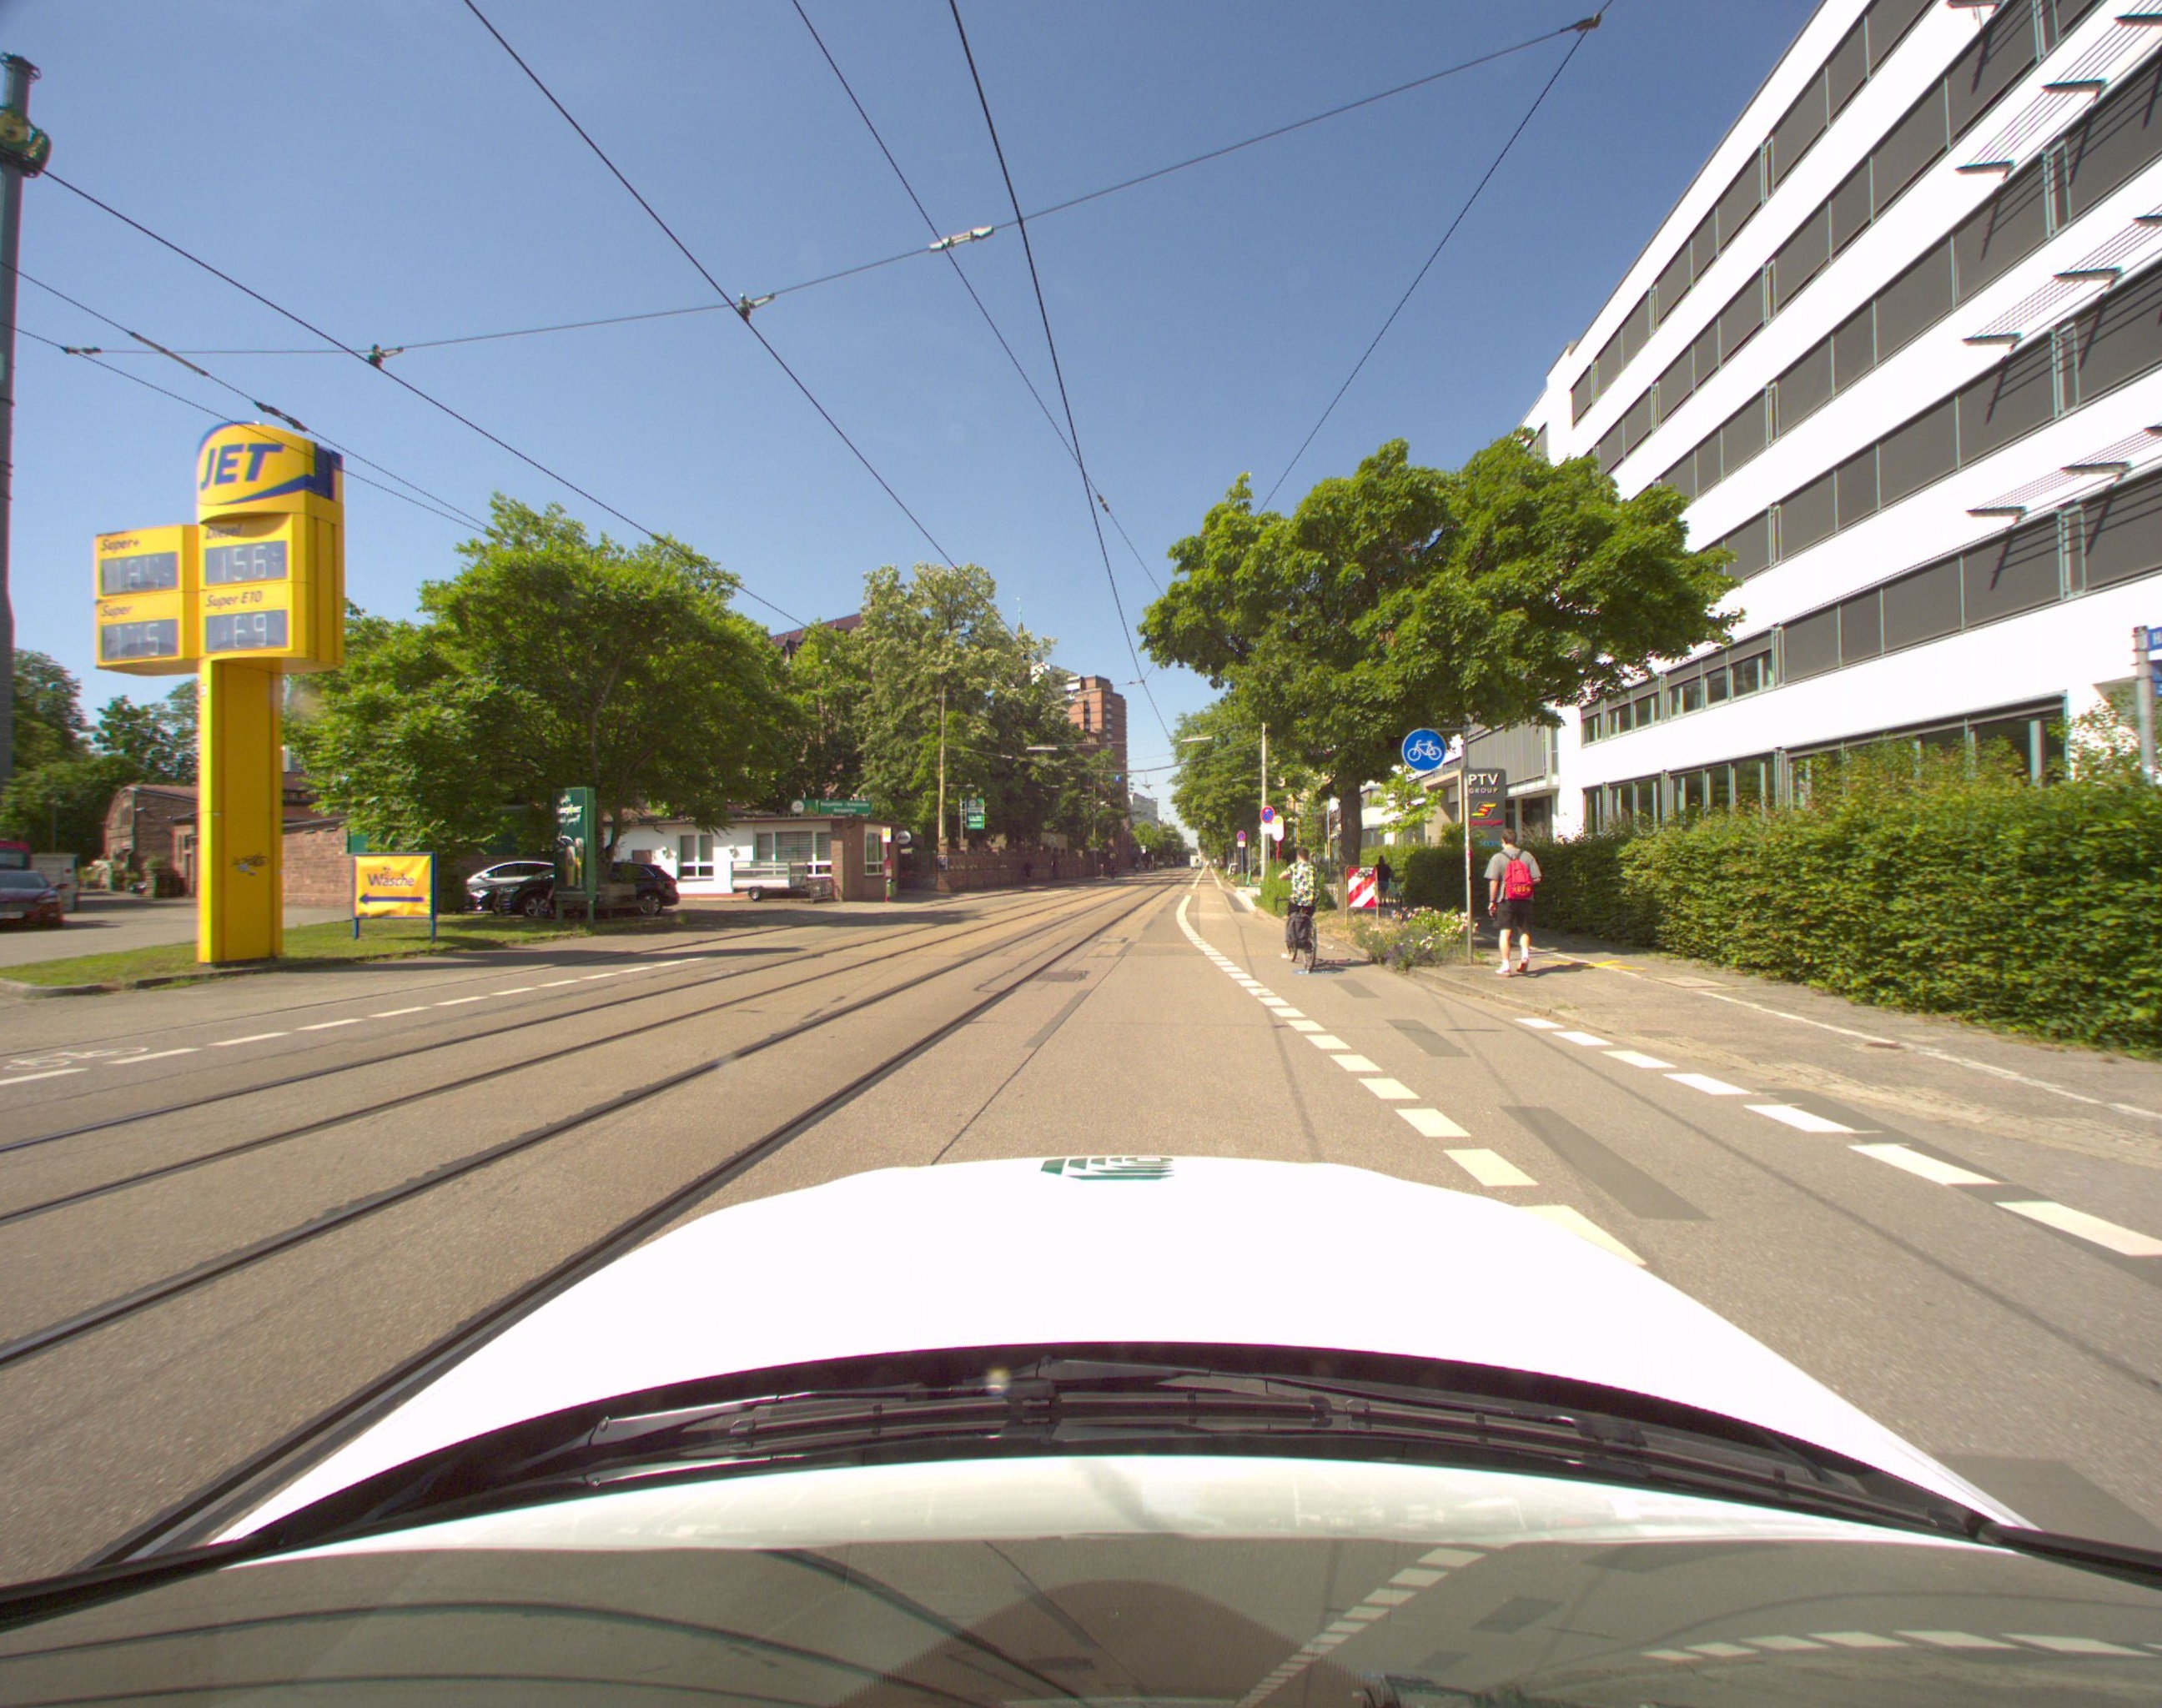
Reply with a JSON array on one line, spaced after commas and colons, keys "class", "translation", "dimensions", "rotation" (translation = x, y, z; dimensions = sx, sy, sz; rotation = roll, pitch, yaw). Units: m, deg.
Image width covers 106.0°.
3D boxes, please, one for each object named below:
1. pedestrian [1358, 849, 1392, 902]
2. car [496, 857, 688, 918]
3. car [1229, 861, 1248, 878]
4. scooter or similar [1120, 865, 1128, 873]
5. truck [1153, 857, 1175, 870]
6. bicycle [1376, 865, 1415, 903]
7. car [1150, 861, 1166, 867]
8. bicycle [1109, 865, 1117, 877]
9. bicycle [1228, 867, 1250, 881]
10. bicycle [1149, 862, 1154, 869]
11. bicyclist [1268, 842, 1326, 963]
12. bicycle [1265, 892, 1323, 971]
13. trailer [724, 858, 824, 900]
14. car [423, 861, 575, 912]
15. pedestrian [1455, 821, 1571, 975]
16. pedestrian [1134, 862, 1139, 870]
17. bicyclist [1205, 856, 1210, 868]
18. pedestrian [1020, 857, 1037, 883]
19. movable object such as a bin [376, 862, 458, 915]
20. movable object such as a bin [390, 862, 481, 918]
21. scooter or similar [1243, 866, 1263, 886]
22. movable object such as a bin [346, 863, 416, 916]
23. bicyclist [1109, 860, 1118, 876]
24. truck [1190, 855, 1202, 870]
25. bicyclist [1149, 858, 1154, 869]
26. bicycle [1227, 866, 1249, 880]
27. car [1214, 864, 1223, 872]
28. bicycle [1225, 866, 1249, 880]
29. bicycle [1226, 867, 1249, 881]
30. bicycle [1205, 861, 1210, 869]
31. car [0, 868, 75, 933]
[{"class": "pedestrian", "translation": [8.996, 0.664, 24.972], "dimensions": [0.683, 1.563, 0.989], "rotation": [-2, -1, 4]}, {"class": "car", "translation": [-14.440, 0.923, 24.179], "dimensions": [4.681, 1.641, 1.997], "rotation": [0, -1, -38]}, {"class": "car", "translation": [13.979, 1.329, 72.430], "dimensions": [1.620, 1.472, 3.640], "rotation": [-1, -1, 10]}, {"class": "scooter or similar", "translation": [6.256, 2.130, 118.143], "dimensions": [1.193, 1.129, 0.330], "rotation": [0, -2, -43]}, {"class": "truck", "translation": [25.761, 2.982, 253.315], "dimensions": [2.786, 3.860, 10.062], "rotation": [-2, -1, 30]}, {"class": "bicycle", "translation": [9.595, 0.903, 24.917], "dimensions": [0.632, 1.117, 2.071], "rotation": [-1, -1, 8]}, {"class": "car", "translation": [21.282, 2.767, 225.093], "dimensions": [4.003, 1.750, 1.985], "rotation": [0, -1, -22]}, {"class": "bicycle", "translation": [3.221, 1.706, 81.613], "dimensions": [0.588, 1.105, 2.059], "rotation": [-1, -1, 9]}, {"class": "bicycle", "translation": [12.757, 1.642, 65.830], "dimensions": [1.714, 1.086, 0.641], "rotation": [-1, -1, 8]}, {"class": "bicycle", "translation": [11.986, 1.956, 139.269], "dimensions": [0.658, 1.154, 2.019], "rotation": [-1, -1, 9]}, {"class": "bicyclist", "translation": [3.198, 0.693, 12.132], "dimensions": [0.712, 1.724, 0.990], "rotation": [-1, -1, 9]}, {"class": "bicycle", "translation": [3.154, 1.112, 12.229], "dimensions": [0.605, 0.984, 2.169], "rotation": [-1, -1, 8]}, {"class": "trailer", "translation": [-12.143, 0.983, 32.283], "dimensions": [3.254, 1.603, 1.728], "rotation": [-1, -1, 10]}, {"class": "car", "translation": [-19.407, 1.022, 27.271], "dimensions": [4.019, 1.557, 1.826], "rotation": [0, -1, -38]}, {"class": "pedestrian", "translation": [5.376, 0.522, 10.206], "dimensions": [0.886, 1.818, 1.074], "rotation": [-1, -1, 2]}, {"class": "pedestrian", "translation": [9.985, 2.184, 146.531], "dimensions": [0.880, 1.512, 1.475], "rotation": [-1, -1, 0]}, {"class": "bicyclist", "translation": [19.874, 1.262, 128.068], "dimensions": [0.632, 1.871, 1.026], "rotation": [-1, -1, 8]}, {"class": "pedestrian", "translation": [-3.801, 1.174, 59.175], "dimensions": [0.970, 1.816, 1.188], "rotation": [-2, -1, 9]}, {"class": "movable object such as a bin", "translation": [-19.453, 0.993, 23.874], "dimensions": [1.404, 1.502, 1.387], "rotation": [-1, -1, 25]}, {"class": "movable object such as a bin", "translation": [-17.910, 0.983, 22.626], "dimensions": [1.408, 1.502, 1.384], "rotation": [-1, -1, 12]}, {"class": "scooter or similar", "translation": [10.257, 1.296, 48.538], "dimensions": [1.118, 1.166, 0.678], "rotation": [-1, -1, 11]}, {"class": "movable object such as a bin", "translation": [-21.200, 1.076, 24.674], "dimensions": [1.312, 1.502, 1.339], "rotation": [-3, -1, 37]}, {"class": "bicyclist", "translation": [3.253, 1.422, 81.647], "dimensions": [0.736, 1.531, 0.950], "rotation": [-1, -1, 9]}, {"class": "truck", "translation": [24.203, 1.740, 171.371], "dimensions": [2.388, 3.109, 6.051], "rotation": [-1, -1, 9]}, {"class": "bicyclist", "translation": [12.027, 1.626, 139.321], "dimensions": [0.721, 1.698, 1.149], "rotation": [-1, -1, 8]}, {"class": "bicycle", "translation": [12.856, 1.581, 66.714], "dimensions": [1.782, 1.086, 0.728], "rotation": [-1, -1, 8]}, {"class": "car", "translation": [26.083, 2.670, 154.282], "dimensions": [1.620, 1.472, 4.123], "rotation": [-1, -1, 9]}, {"class": "bicycle", "translation": [13.124, 1.604, 68.553], "dimensions": [1.893, 1.169, 0.821], "rotation": [-1, -1, 8]}, {"class": "bicycle", "translation": [12.893, 1.659, 67.243], "dimensions": [1.838, 1.132, 0.682], "rotation": [-1, -1, 8]}, {"class": "bicycle", "translation": [19.859, 1.739, 127.929], "dimensions": [0.851, 1.110, 2.144], "rotation": [-1, -1, 8]}, {"class": "car", "translation": [-26.607, 1.117, 20.066], "dimensions": [4.497, 1.460, 1.905], "rotation": [-1, 1, 34]}]
